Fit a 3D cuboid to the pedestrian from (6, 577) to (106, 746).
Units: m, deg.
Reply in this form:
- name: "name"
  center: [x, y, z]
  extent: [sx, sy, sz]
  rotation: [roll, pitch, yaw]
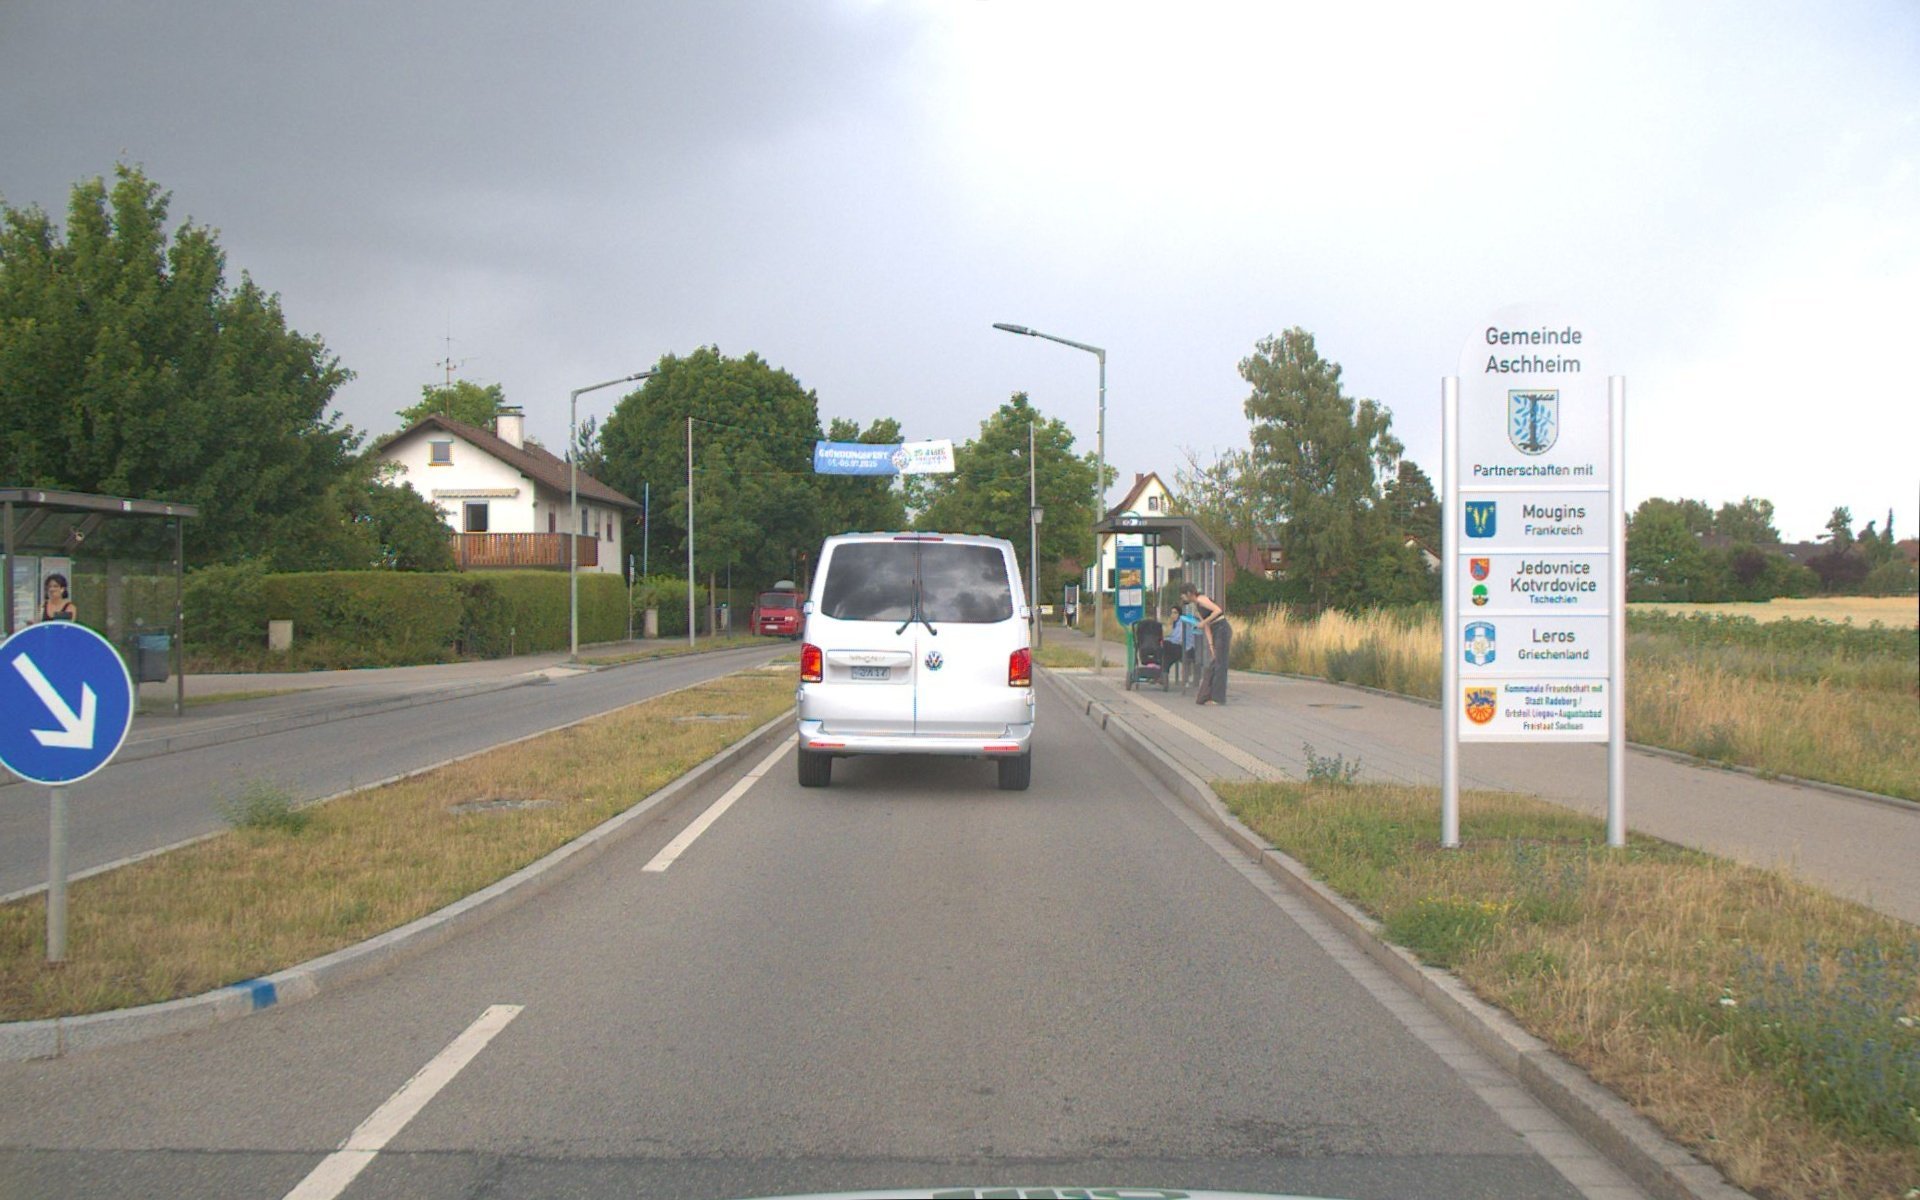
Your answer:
- name: "pedestrian"
  center: [-9.116, 0.607, 16.704]
  extent: [0.576, 1.665, 0.812]
  rotation: [0, 0, -1]

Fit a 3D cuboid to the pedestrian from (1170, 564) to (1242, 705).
- name: "pedestrian"
  center: [3.288, 0.457, 22.097]
  extent: [0.765, 1.824, 0.779]
  rotation: [2, -1, 20]

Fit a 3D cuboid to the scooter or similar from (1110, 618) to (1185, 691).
- name: "scooter or similar"
  center: [2.880, 0.827, 25.309]
  extent: [0.694, 1.080, 1.056]
  rotation: [1, -1, 36]

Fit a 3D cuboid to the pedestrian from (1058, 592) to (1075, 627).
- name: "pedestrian"
  center: [5.524, 0.506, 85.779]
  extent: [0.820, 1.785, 0.870]
  rotation: [0, -1, 4]

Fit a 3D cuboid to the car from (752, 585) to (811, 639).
- name: "car"
  center: [-7.223, 0.472, 67.229]
  extent: [1.792, 2.066, 5.046]
  rotation: [2, 0, 0]

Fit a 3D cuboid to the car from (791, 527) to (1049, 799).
- name: "car"
  center: [-0.326, 0.477, 13.967]
  extent: [1.849, 1.945, 3.999]
  rotation: [1, -1, -1]

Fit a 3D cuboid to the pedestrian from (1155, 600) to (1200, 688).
- name: "pedestrian"
  center: [3.376, 0.682, 25.695]
  extent: [0.650, 1.325, 0.505]
  rotation: [2, -1, 8]
